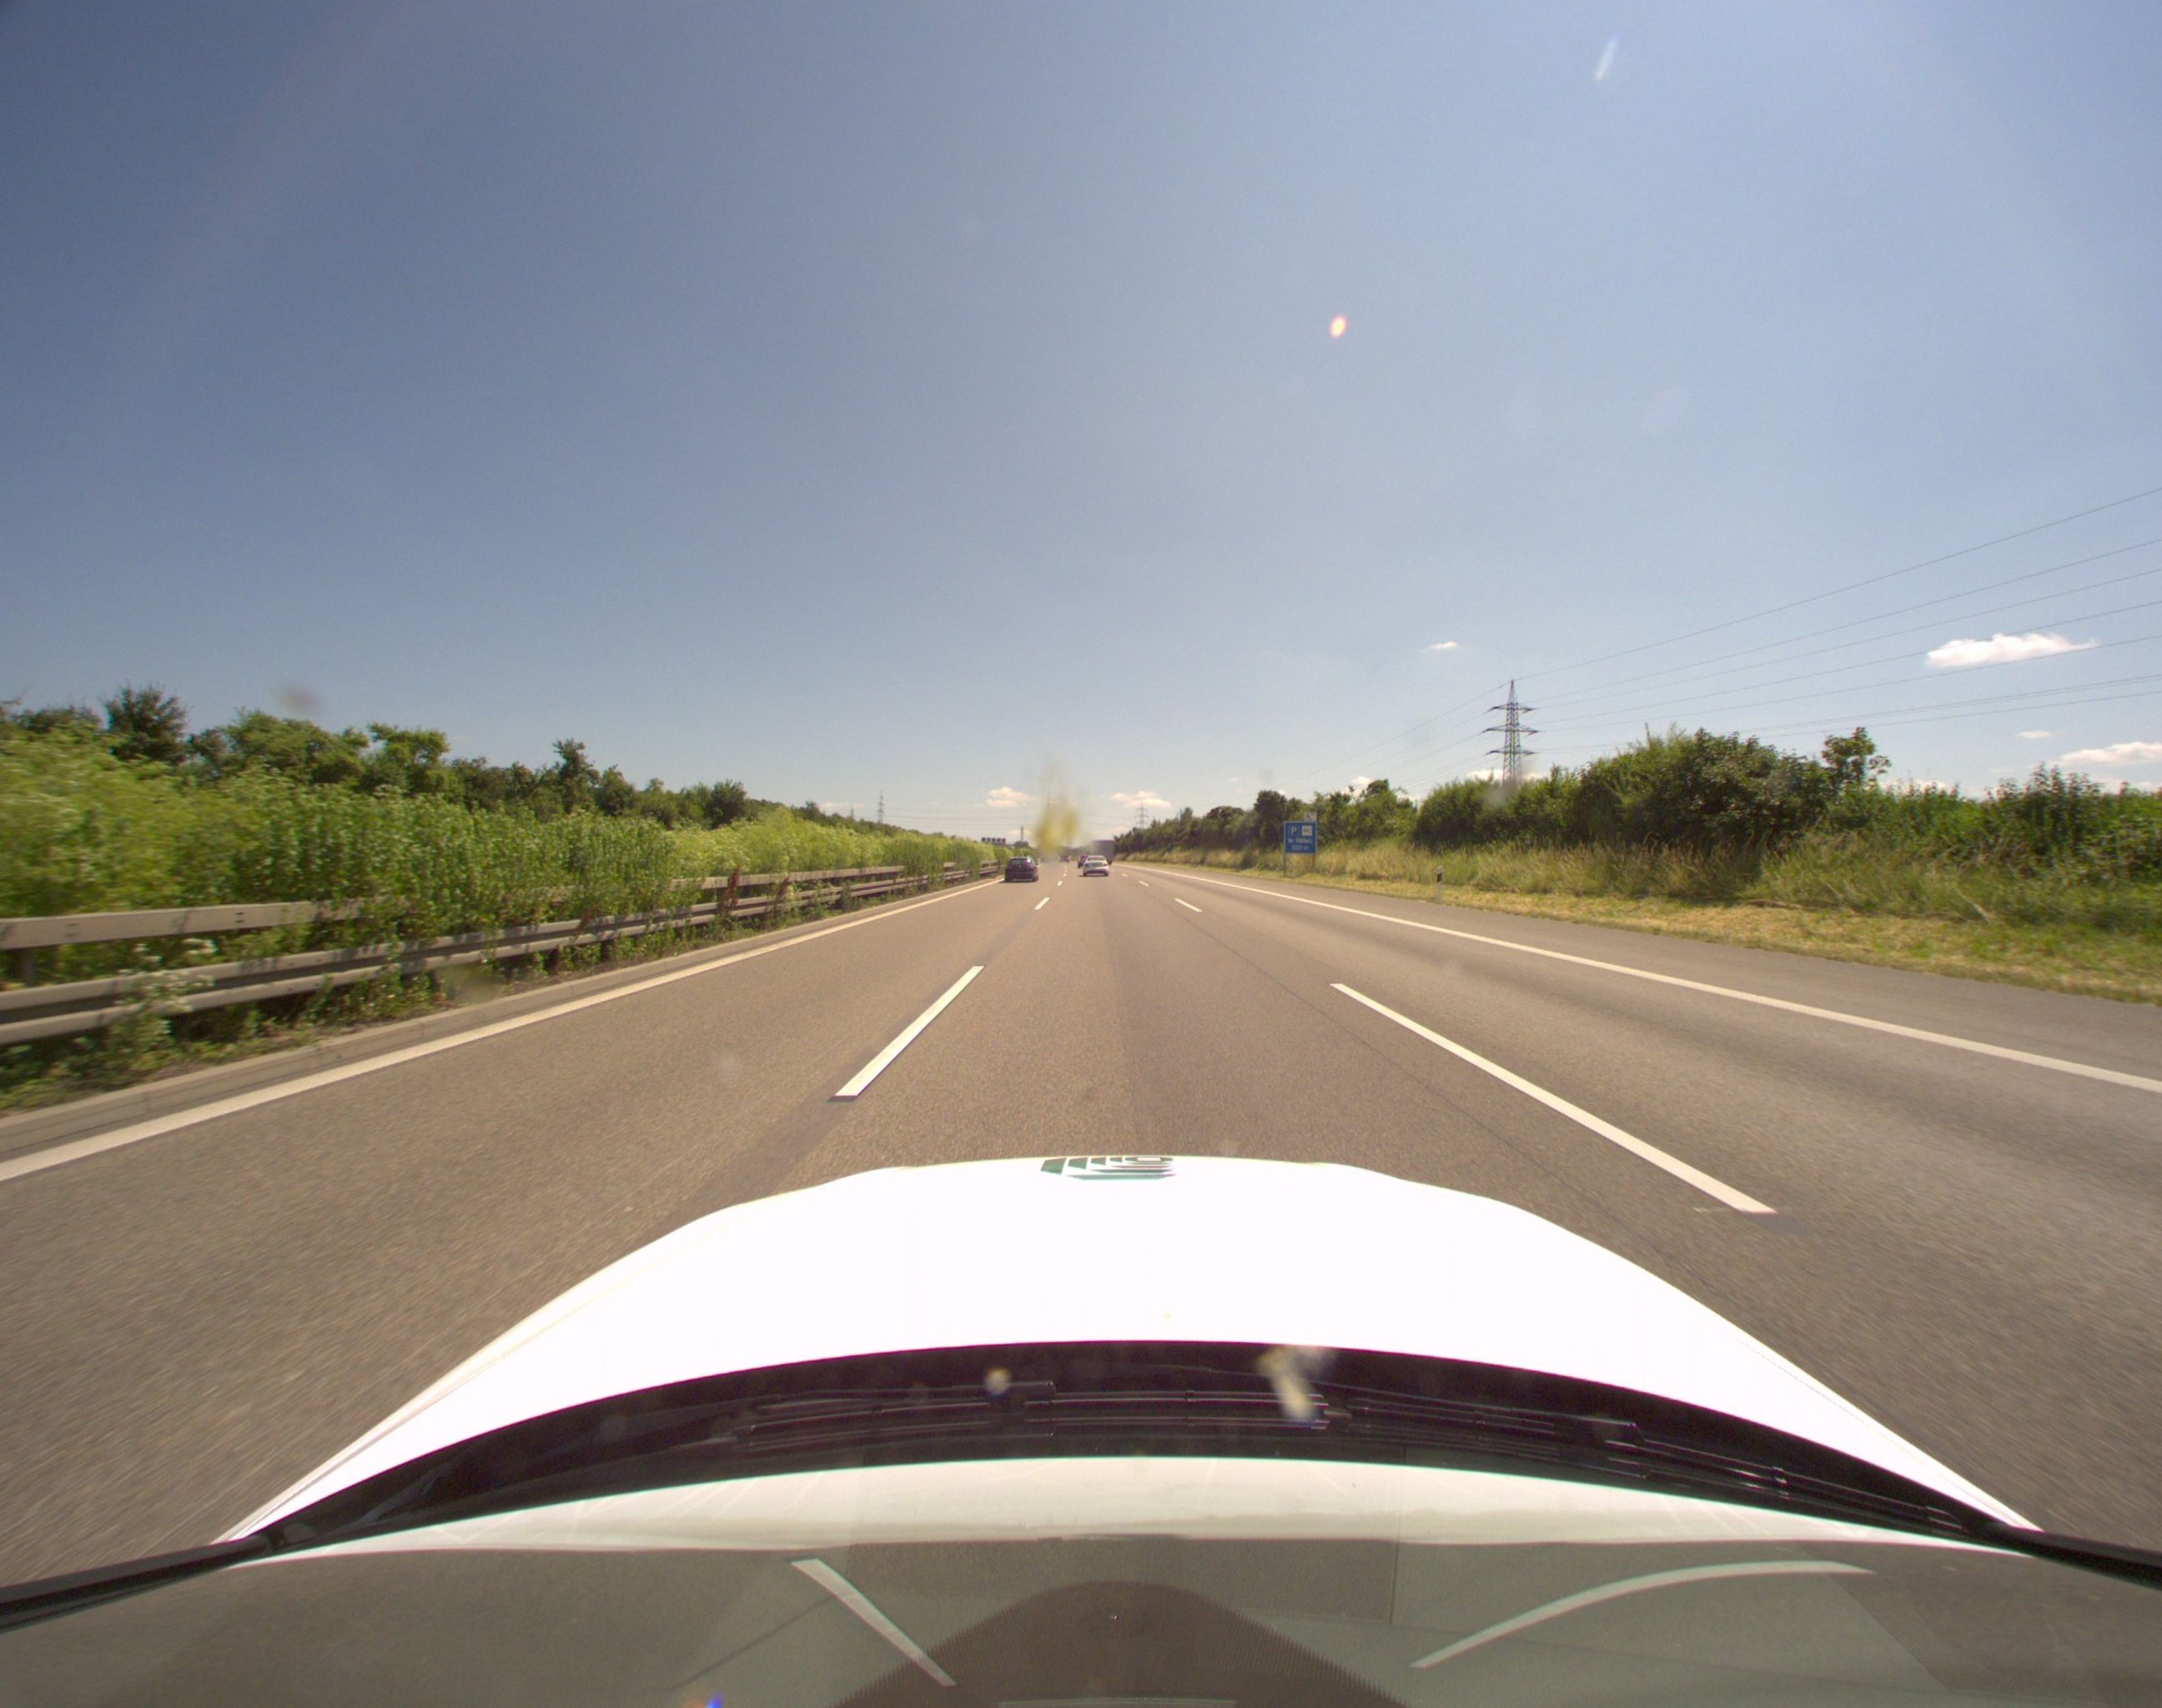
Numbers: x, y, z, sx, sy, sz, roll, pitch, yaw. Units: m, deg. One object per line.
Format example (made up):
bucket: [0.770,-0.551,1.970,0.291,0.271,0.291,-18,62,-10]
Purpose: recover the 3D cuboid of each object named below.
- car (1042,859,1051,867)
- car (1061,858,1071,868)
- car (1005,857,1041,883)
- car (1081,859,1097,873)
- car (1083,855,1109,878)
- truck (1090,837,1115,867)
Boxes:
car: [-7.637,1.958,180.632,1.987,1.860,3.999,-1,0,0]
car: [-3.202,1.865,171.763,1.897,1.926,3.997,-1,0,-2]
car: [-3.326,0.889,46.950,1.751,1.429,4.000,-1,0,0]
car: [0.928,1.432,95.273,1.832,1.541,3.914,-1,0,0]
car: [1.061,0.843,57.909,1.813,1.541,3.914,-1,0,1]
truck: [2.954,-0.230,113.364,3.211,3.924,9.057,0,-1,0]
